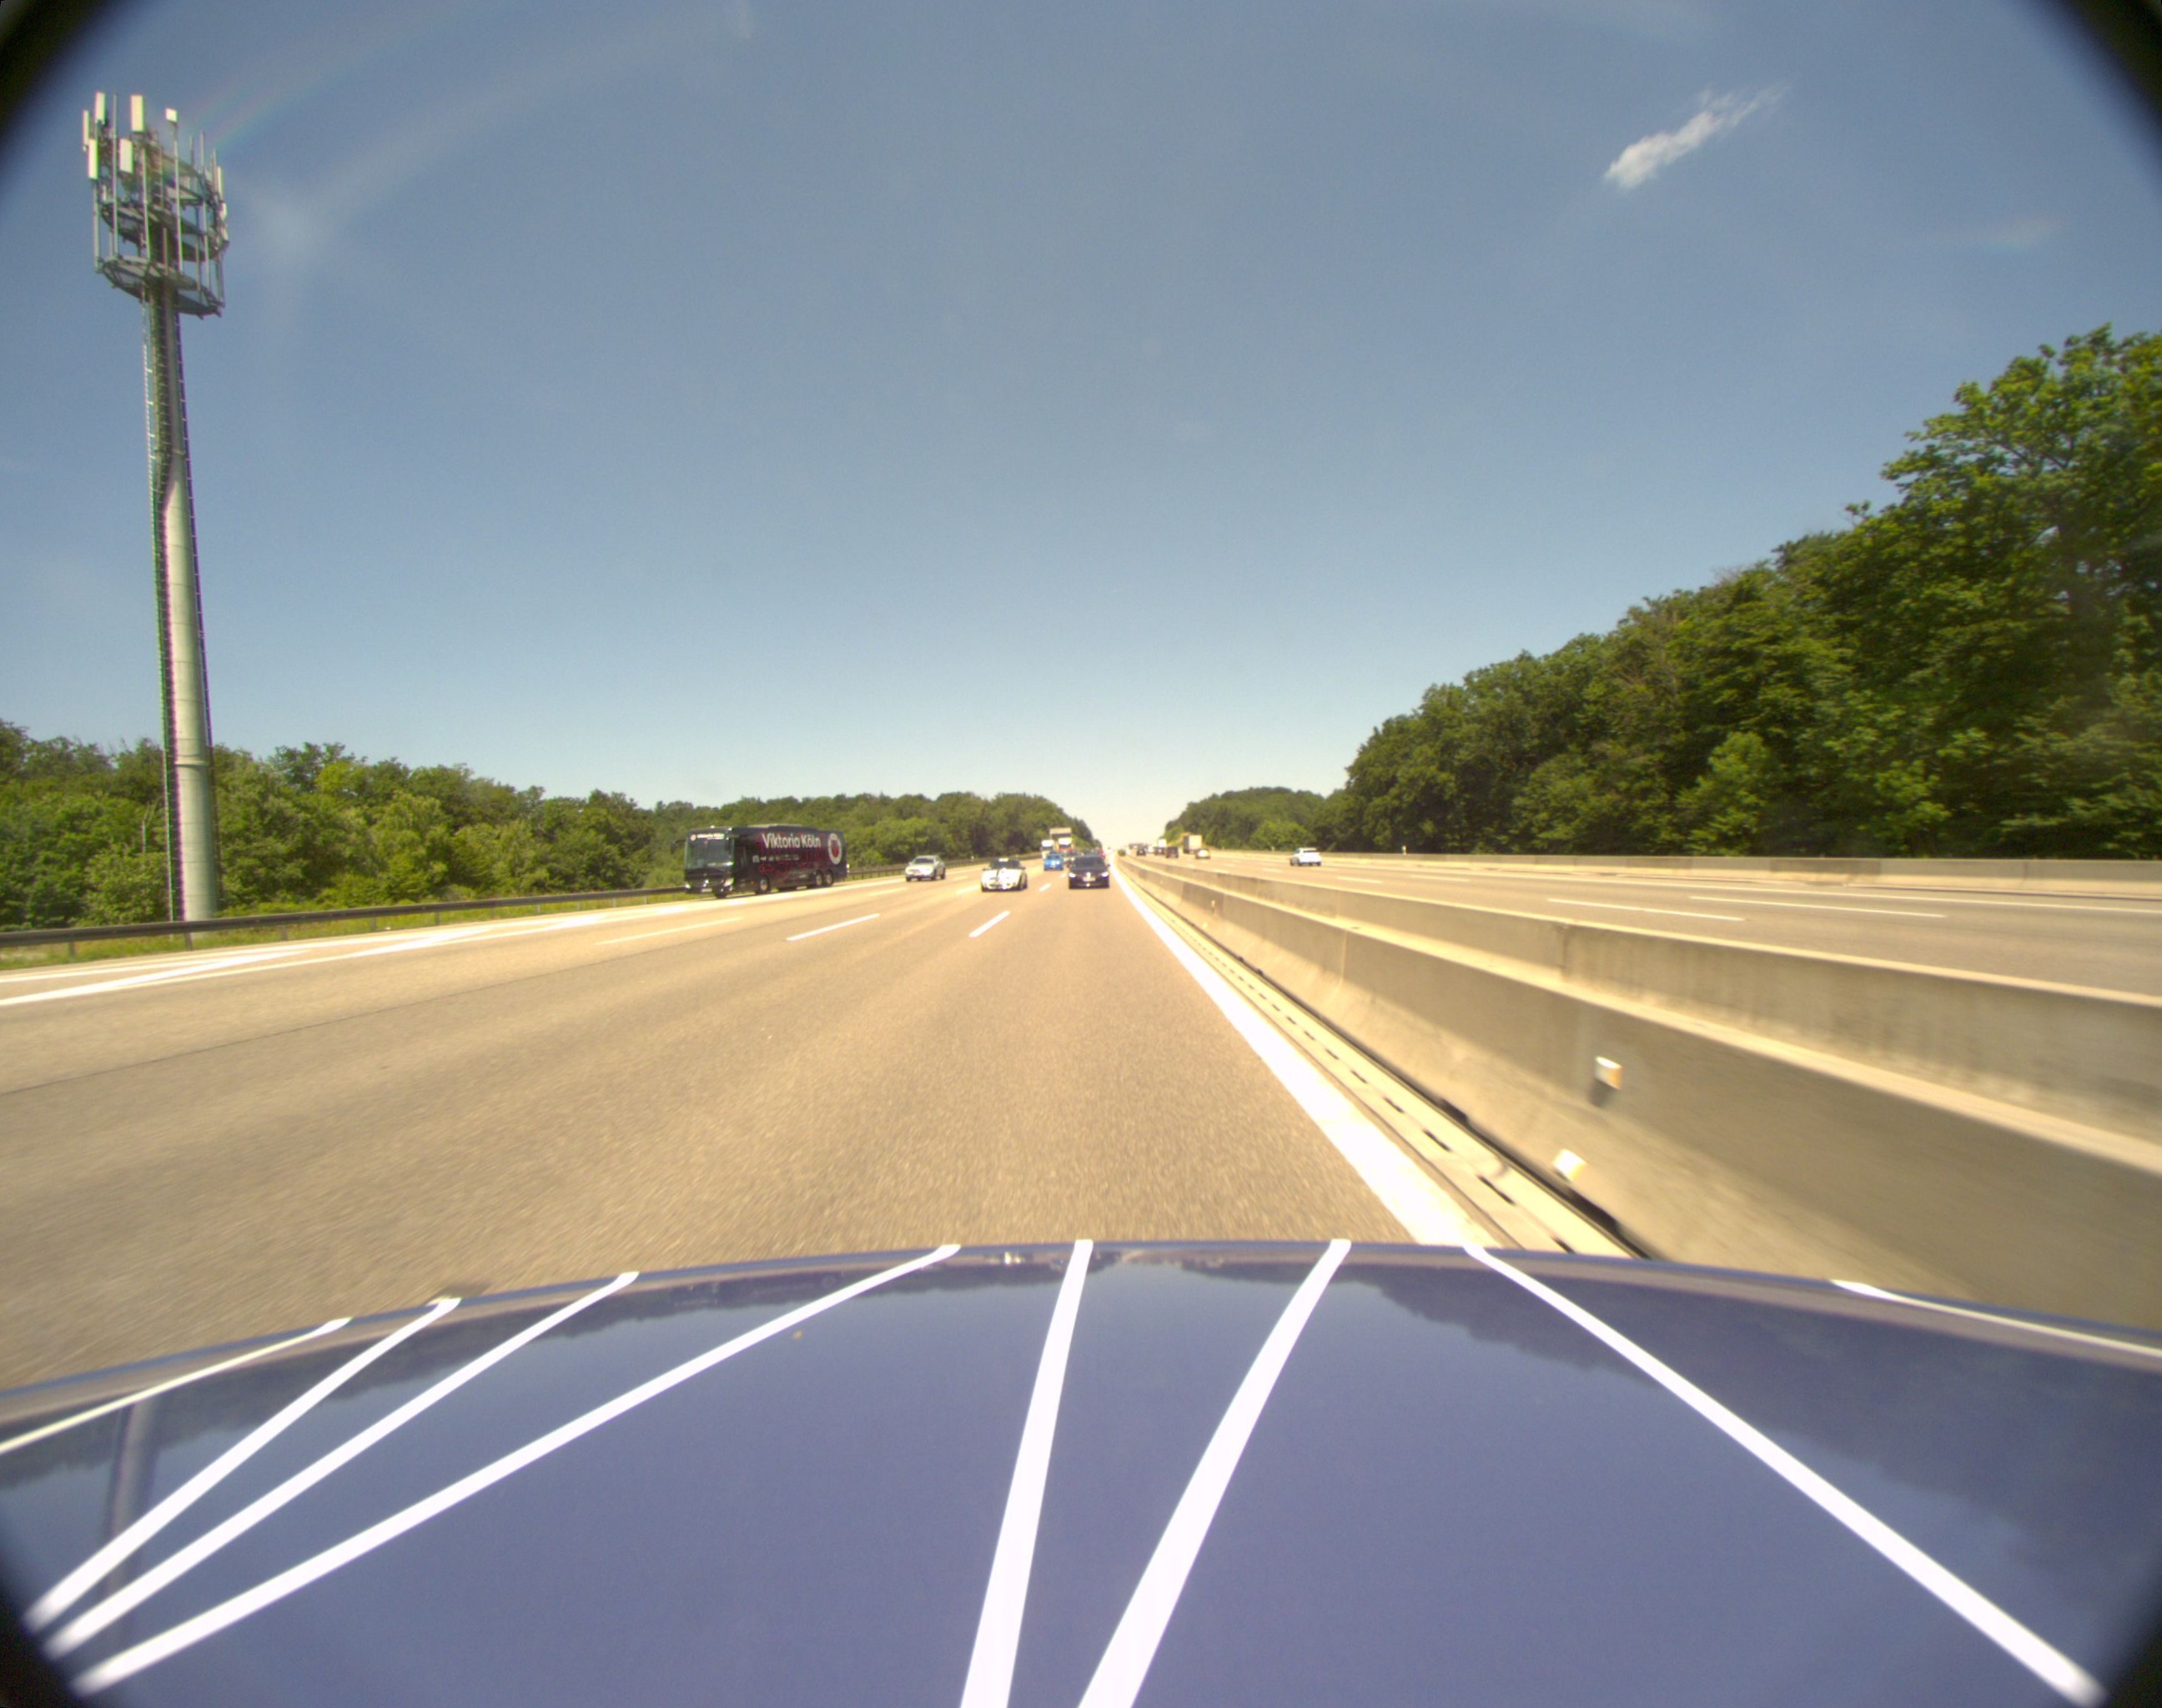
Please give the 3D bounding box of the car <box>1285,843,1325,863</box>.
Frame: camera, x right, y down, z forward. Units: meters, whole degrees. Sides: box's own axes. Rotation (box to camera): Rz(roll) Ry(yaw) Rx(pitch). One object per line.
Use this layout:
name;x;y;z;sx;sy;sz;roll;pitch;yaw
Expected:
car;18.255;-0.090;62.113;1.877;1.472;4.813;-3;1;2

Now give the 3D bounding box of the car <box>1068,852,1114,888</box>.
car;0.501;0.654;33.457;1.777;1.425;4.144;-1;1;3

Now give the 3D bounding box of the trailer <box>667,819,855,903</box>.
trailer;-16.446;0.172;40.991;2.863;3.667;13.546;-2;1;7

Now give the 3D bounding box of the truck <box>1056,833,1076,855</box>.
truck;-2.896;-1.967;151.556;3.017;3.957;7.542;-4;-1;4

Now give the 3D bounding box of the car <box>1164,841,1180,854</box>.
car;14.406;-1.074;120.389;1.877;1.929;5.774;-2;1;2

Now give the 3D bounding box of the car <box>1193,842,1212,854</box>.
car;17.073;-0.828;106.988;1.877;1.526;4.813;-2;1;2

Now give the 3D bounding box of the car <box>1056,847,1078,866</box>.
car;-1.688;0.274;93.457;1.965;2.041;4.786;-5;0;6

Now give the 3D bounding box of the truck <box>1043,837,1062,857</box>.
truck;-6.292;-1.555;167.541;2.728;4.136;10.972;-4;0;4

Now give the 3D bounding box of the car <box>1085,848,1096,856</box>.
car;1.895;-0.482;158.155;1.909;1.503;4.161;-4;0;5

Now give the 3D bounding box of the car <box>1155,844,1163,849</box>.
car;22.816;-2.291;222.292;1.836;1.294;4.729;-2;1;2

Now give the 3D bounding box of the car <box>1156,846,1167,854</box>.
car;15.965;-0.902;151.286;1.877;1.467;5.111;-2;1;2

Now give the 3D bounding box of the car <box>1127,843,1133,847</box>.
car;16.803;-3.036;259.611;1.877;1.526;4.136;-2;0;2

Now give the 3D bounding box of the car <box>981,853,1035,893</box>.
car;-3.165;0.792;33.678;1.846;1.543;4.000;-3;1;1

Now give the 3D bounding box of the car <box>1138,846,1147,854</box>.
car;11.810;-0.745;145.905;1.605;1.460;4.505;-2;1;2

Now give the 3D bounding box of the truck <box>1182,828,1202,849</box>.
truck;23.310;-3.208;160.122;2.696;4.002;14.298;-2;1;2

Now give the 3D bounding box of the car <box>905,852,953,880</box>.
car;-9.989;0.756;50.484;1.805;1.721;5.240;-2;0;3

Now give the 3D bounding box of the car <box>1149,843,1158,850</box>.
car;17.749;-1.903;186.812;1.836;1.553;4.776;1;1;2

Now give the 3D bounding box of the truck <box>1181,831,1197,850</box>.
truck;23.642;-2.927;166.470;2.664;4.003;5.510;-2;1;2

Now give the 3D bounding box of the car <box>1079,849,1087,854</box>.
car;0.620;-0.754;223.098;1.909;1.503;4.161;-4;0;5

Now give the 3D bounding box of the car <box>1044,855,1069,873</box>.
car;-2.155;0.847;68.091;1.741;1.403;4.000;-3;1;3
